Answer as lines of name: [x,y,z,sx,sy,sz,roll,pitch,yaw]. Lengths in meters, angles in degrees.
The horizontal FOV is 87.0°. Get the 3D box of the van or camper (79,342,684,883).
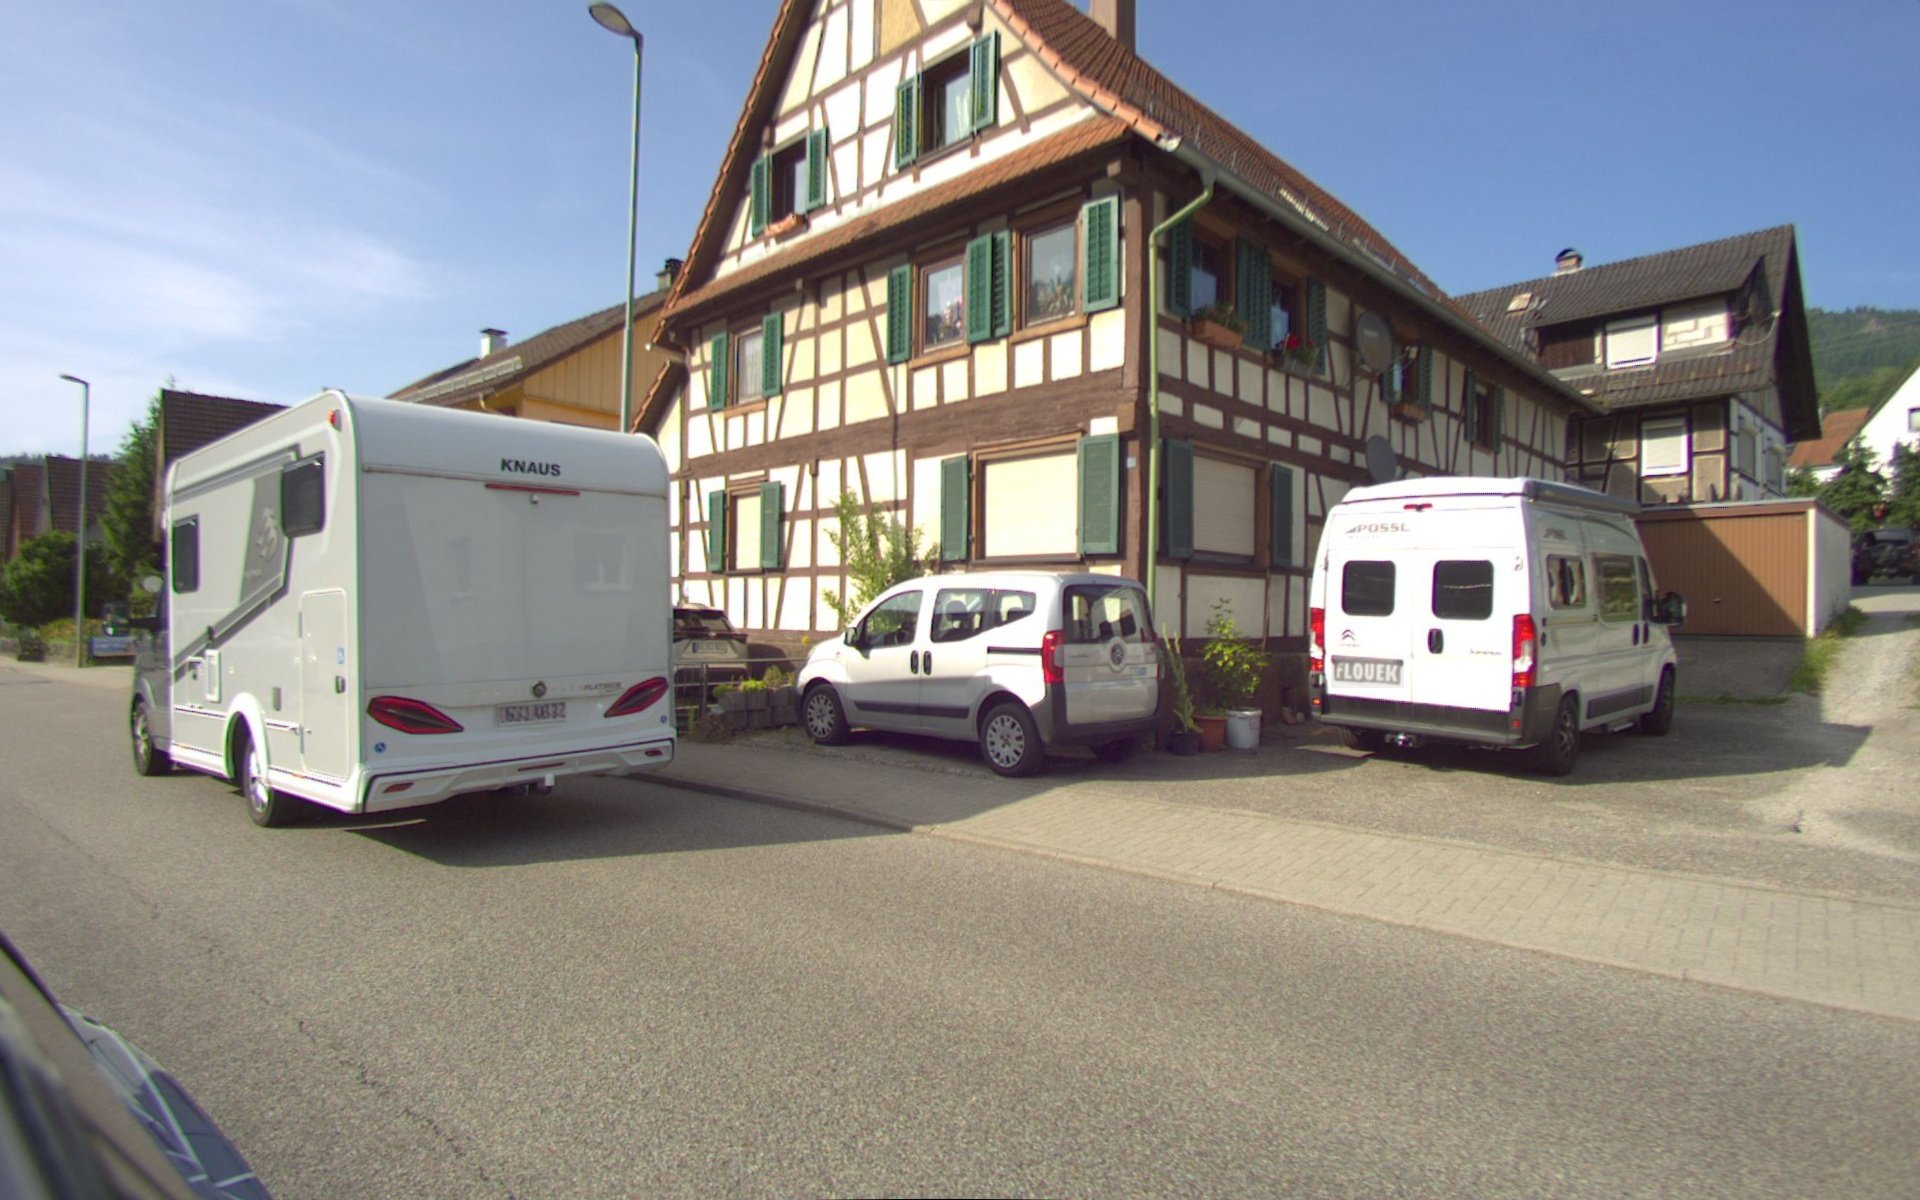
van or camper: [-5.392,0.144,8.669,7.120,2.961,2.173,-2,-1,40]

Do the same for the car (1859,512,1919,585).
car: [27.820,-1.575,30.007,1.663,2.028,3.775,1,4,41]

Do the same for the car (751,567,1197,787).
car: [-0.048,0.619,9.906,4.269,1.677,1.879,-1,-1,45]

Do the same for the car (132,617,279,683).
car: [-19.238,1.222,25.750,4.228,1.530,1.867,-1,-1,36]

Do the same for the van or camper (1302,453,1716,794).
van or camper: [5.893,0.178,10.521,5.113,2.683,2.195,-1,0,-42]
